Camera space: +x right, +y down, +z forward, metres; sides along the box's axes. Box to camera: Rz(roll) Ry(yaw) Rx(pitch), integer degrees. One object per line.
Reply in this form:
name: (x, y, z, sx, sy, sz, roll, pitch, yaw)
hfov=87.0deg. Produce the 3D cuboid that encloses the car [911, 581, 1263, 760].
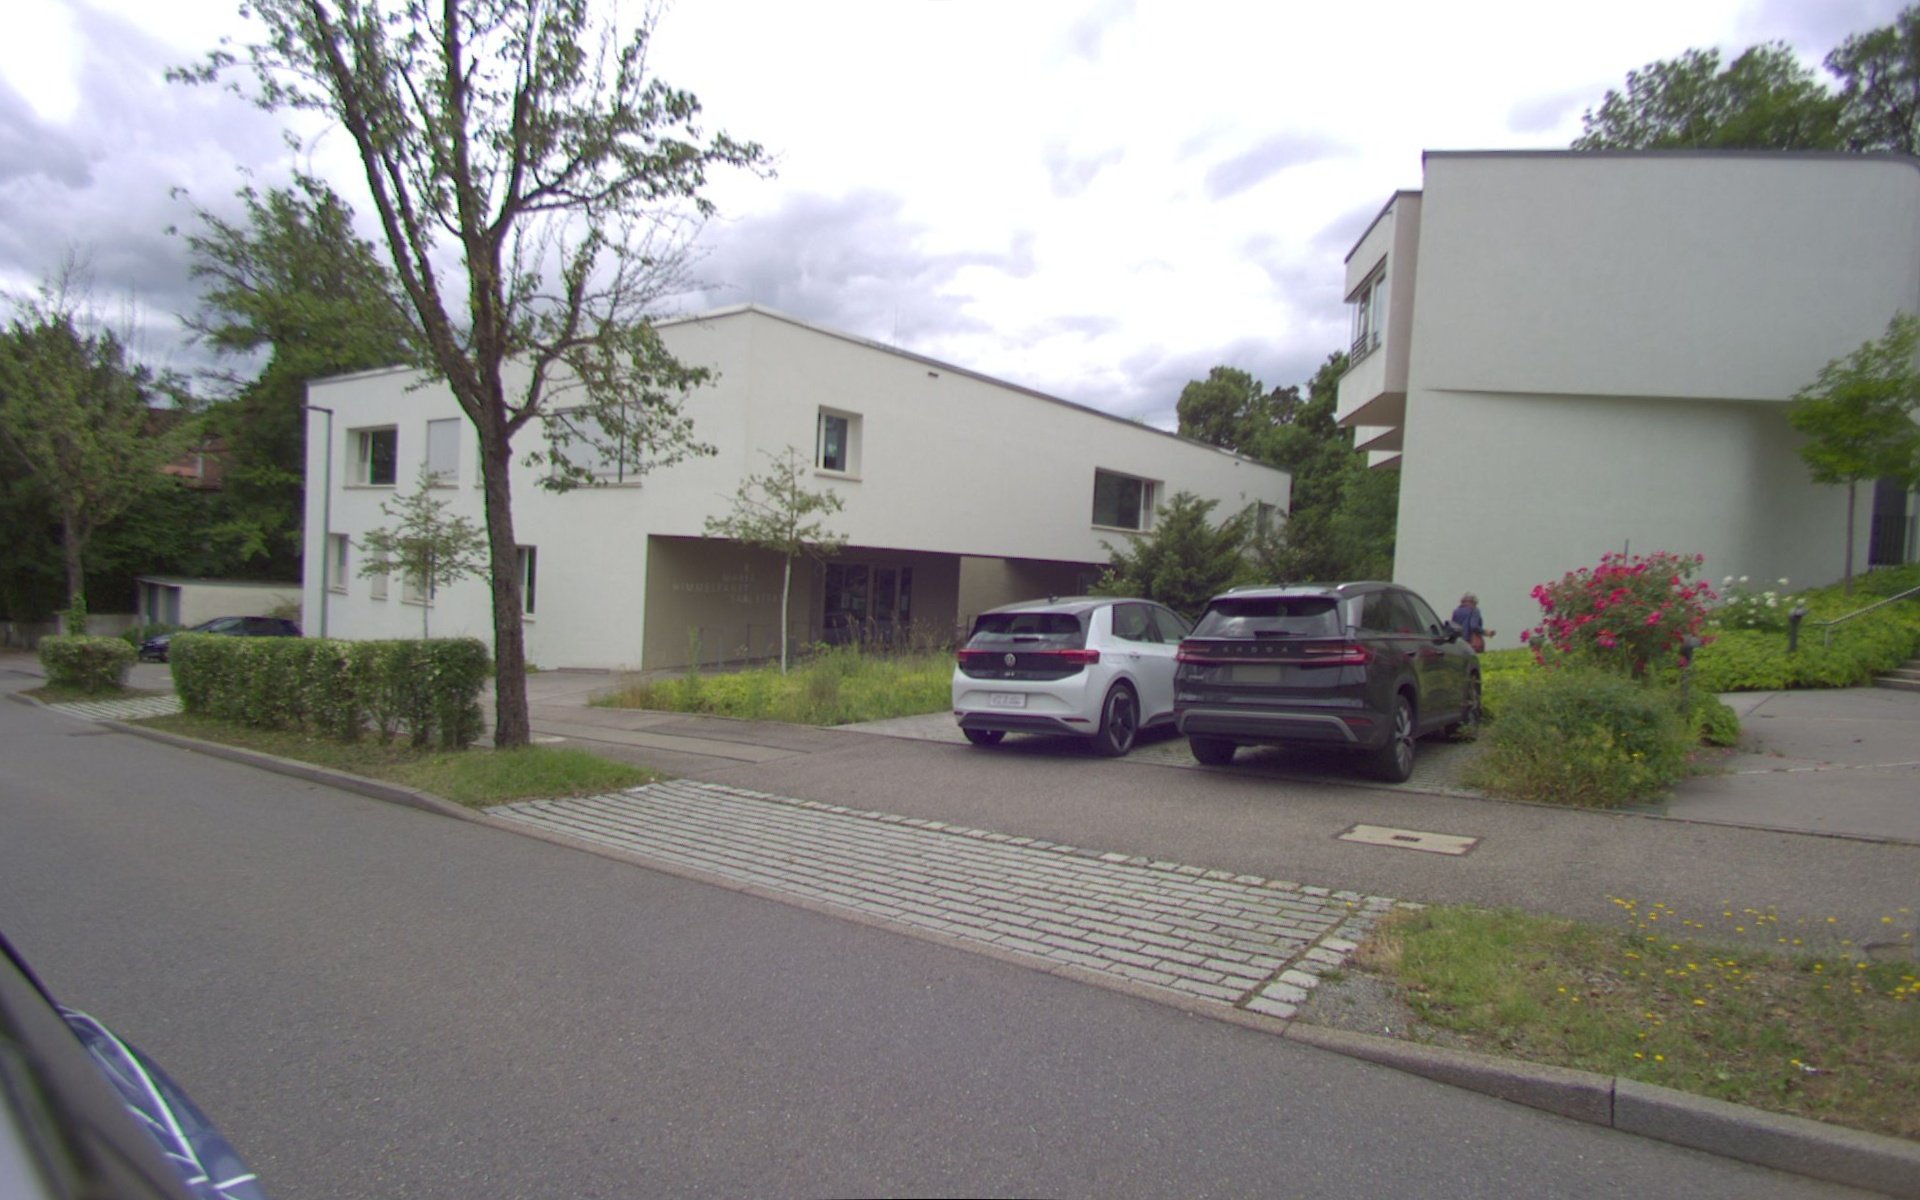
car: (1.616, 0.683, 11.318, 2.062, 1.578, 4.346, -1, -2, 36)

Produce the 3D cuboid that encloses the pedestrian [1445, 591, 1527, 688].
pedestrian: (7.289, 0.527, 14.029, 0.898, 1.293, 0.601, -1, 0, 38)

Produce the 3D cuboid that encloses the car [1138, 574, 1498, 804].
car: (3.522, 0.655, 9.510, 2.006, 1.666, 3.948, -1, -1, 39)

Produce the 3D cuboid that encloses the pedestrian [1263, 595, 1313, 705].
pedestrian: (5.070, 0.764, 15.651, 0.565, 1.653, 0.587, -1, -2, 39)

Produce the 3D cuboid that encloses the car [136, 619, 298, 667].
car: (-23.142, 1.294, 31.623, 1.739, 1.364, 3.757, -1, -1, 38)
